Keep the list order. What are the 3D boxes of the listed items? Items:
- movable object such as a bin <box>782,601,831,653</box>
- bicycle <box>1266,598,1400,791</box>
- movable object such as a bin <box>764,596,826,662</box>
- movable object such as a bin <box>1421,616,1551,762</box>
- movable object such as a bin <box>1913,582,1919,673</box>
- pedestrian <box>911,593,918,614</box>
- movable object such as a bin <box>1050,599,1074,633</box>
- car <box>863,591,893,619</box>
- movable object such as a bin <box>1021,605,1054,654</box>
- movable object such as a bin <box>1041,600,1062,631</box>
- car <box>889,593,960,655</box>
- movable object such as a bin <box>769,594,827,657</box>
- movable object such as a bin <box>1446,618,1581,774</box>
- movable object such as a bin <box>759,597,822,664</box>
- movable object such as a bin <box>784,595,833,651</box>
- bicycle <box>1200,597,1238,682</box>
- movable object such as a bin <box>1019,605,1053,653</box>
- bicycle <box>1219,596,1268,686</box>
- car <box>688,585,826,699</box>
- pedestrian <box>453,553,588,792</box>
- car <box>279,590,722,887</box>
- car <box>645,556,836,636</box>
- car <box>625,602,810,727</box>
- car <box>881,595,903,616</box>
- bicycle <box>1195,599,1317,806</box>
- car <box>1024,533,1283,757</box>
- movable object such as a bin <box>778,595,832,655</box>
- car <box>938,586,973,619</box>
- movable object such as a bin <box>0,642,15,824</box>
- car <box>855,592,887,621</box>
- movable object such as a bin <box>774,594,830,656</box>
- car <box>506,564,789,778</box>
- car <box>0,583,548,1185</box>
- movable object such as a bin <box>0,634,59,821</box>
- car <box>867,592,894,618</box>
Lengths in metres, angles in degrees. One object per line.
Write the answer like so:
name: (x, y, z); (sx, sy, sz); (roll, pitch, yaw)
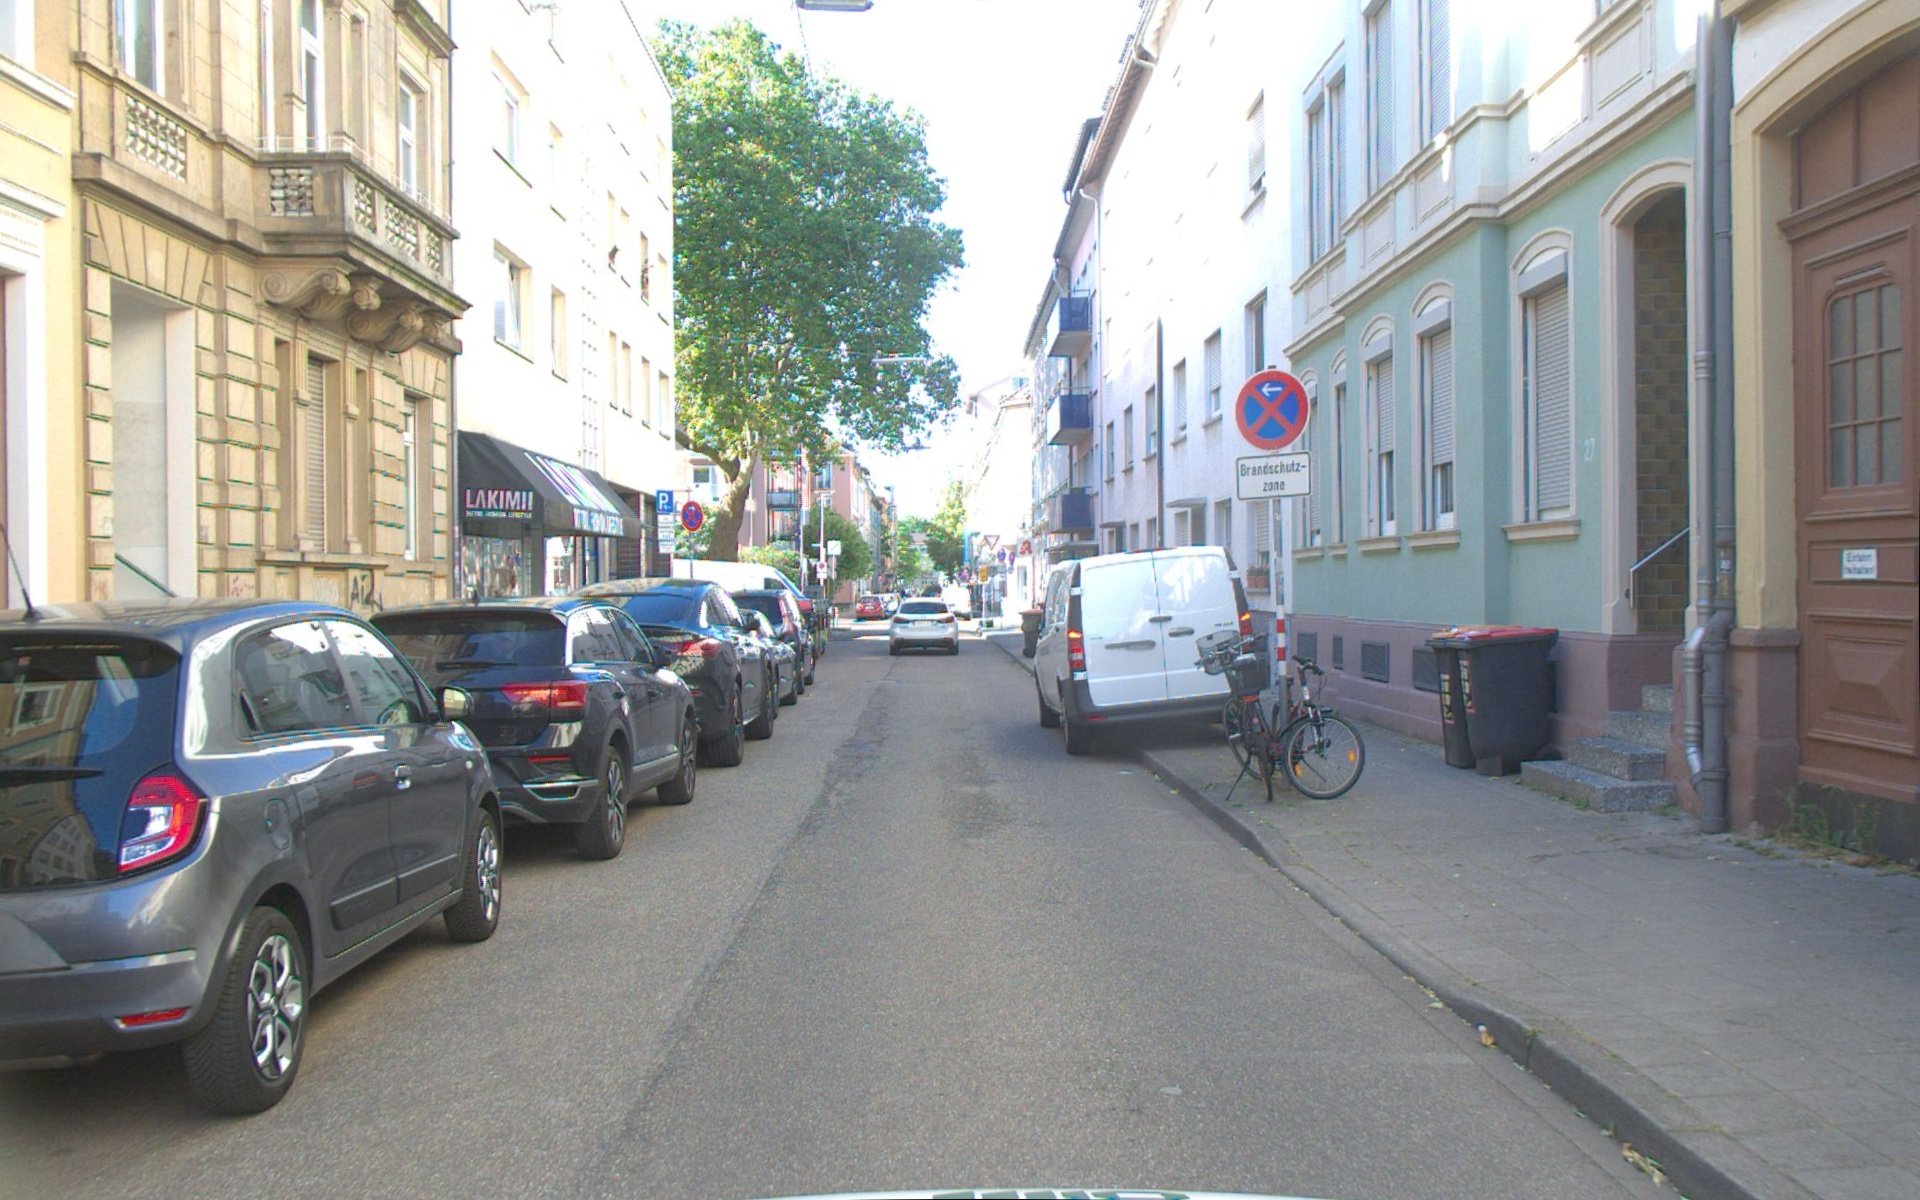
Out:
movable object such as a bin: (-4.021, 0.696, 43.437); (1.216, 1.345, 1.045); (0, -1, -1)
bicycle: (2.756, 0.647, 12.426); (0.563, 1.293, 2.200); (-3, 0, 3)
movable object such as a bin: (-3.900, 0.679, 39.200); (1.307, 1.510, 1.093); (-2, -1, -1)
movable object such as a bin: (4.114, 0.684, 12.977); (0.796, 1.107, 0.674); (-1, -1, 1)
movable object such as a bin: (4.136, 0.594, 5.712); (0.820, 1.414, 1.296); (-3, -2, -2)
pedestrian: (-3.999, 0.316, 145.302); (0.634, 1.828, 0.639); (-1, -1, 0)
movable object such as a bin: (3.462, 0.537, 56.264); (0.715, 1.123, 0.692); (-1, -1, -3)
car: (-5.112, 0.326, 103.017); (1.685, 1.712, 3.725); (-1, 0, 0)
movable object such as a bin: (1.783, 0.670, 37.996); (0.717, 1.099, 0.703); (-1, -1, 0)
movable object such as a bin: (3.228, 0.543, 58.205); (0.687, 1.092, 0.596); (-1, -1, 1)
car: (-0.948, 0.603, 43.625); (1.787, 1.540, 3.822); (-1, 0, -2)
movable object such as a bin: (-3.925, 0.624, 40.244); (1.321, 1.513, 1.003); (0, -1, -1)
movable object such as a bin: (4.102, 0.698, 12.305); (0.780, 1.115, 0.642); (-1, -1, 1)
movable object such as a bin: (-3.885, 0.695, 38.026); (1.293, 1.476, 1.187); (-2, -1, -1)
movable object such as a bin: (-4.068, 0.612, 44.536); (1.275, 1.476, 1.116); (0, -1, -5)
bicycle: (3.923, 0.585, 25.138); (0.428, 1.227, 2.267); (-1, -1, 6)
movable object such as a bin: (1.765, 0.682, 38.709); (0.752, 1.105, 0.693); (-1, -1, 0)
bicycle: (4.062, 0.573, 23.805); (0.397, 1.227, 2.160); (-1, -1, 2)
car: (-3.317, 0.634, 27.799); (1.746, 1.696, 4.669); (-2, 0, -1)
pedestrian: (-3.567, 0.573, 13.487); (0.848, 1.869, 0.883); (-1, -1, 0)
car: (-2.794, 0.740, 11.111); (1.678, 1.558, 4.367); (-2, 0, 1)
car: (-7.985, -0.128, 60.605); (6.601, 2.599, 2.146); (2, -1, 1)
car: (-3.149, 0.798, 22.421); (1.808, 1.441, 4.817); (-2, 0, -1)
car: (-5.322, 0.426, 129.634); (1.540, 1.613, 3.610); (-1, 0, 0)
bicycle: (2.121, 0.683, 12.092); (0.563, 1.344, 2.200); (-2, 0, 3)
car: (1.895, 0.396, 18.050); (1.943, 1.916, 5.598); (-4, 0, -1)
movable object such as a bin: (-3.958, 0.634, 42.348); (1.307, 1.517, 1.081); (0, -1, -1)
car: (-0.293, 0.156, 100.729); (1.904, 1.982, 4.075); (0, 0, -3)
movable object such as a bin: (-6.247, 0.832, 9.962); (0.721, 1.108, 0.682); (-1, 1, -5)
car: (-5.209, 0.380, 97.416); (1.734, 1.616, 3.725); (-1, 1, -2)
movable object such as a bin: (-3.923, 0.619, 41.280); (1.316, 1.525, 1.018); (0, -1, -1)
car: (-2.919, 0.597, 16.628); (1.897, 1.766, 5.141); (-1, 0, -1)
car: (-2.822, 0.745, 6.343); (1.583, 1.581, 3.976); (-1, 0, -2)
movable object such as a bin: (-6.274, 0.805, 10.582); (0.705, 1.152, 0.584); (-1, -1, -5)
car: (-5.202, 0.333, 108.530); (1.602, 1.685, 3.784); (-1, 0, 0)
